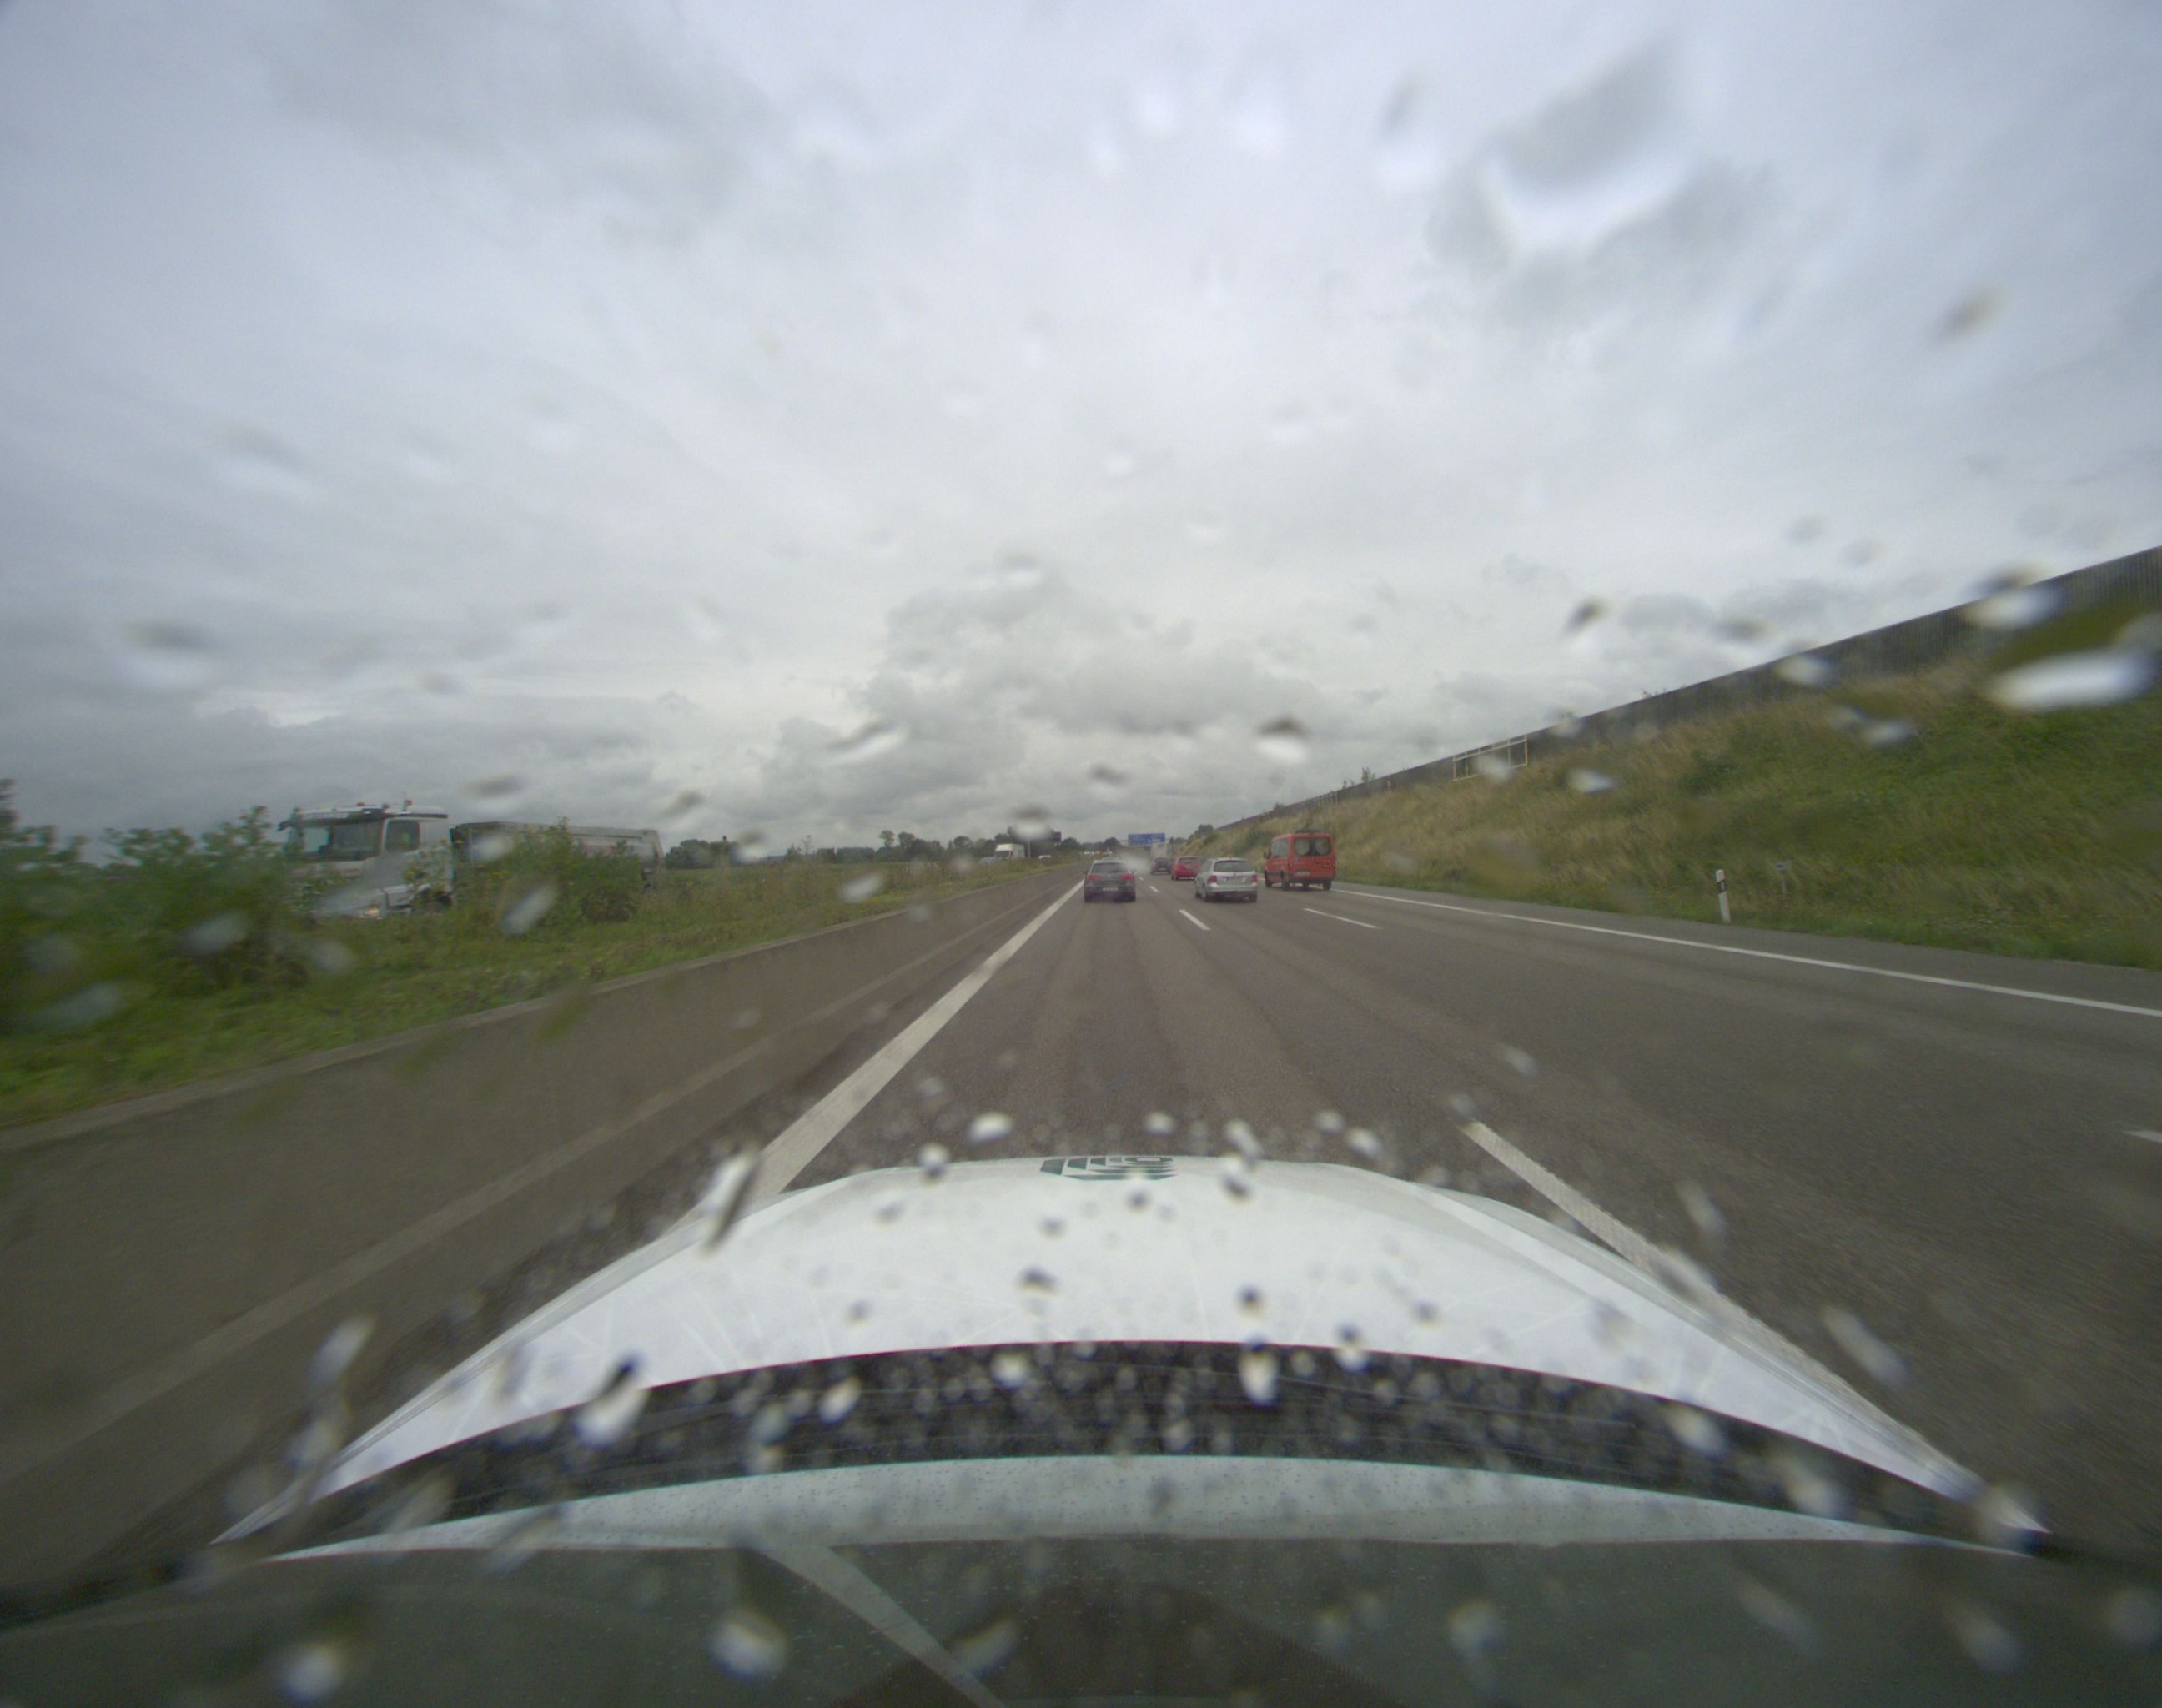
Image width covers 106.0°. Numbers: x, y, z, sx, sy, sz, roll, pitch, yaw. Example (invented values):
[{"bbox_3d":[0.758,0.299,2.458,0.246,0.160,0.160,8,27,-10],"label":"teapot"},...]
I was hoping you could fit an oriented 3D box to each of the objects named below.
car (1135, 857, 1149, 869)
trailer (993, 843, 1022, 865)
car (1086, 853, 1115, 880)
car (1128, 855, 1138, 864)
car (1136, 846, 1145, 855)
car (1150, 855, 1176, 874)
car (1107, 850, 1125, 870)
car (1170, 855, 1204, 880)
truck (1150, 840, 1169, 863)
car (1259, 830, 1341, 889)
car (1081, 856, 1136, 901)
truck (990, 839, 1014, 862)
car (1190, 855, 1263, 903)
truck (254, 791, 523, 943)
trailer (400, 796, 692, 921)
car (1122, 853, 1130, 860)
[{"bbox_3d":[9.276,1.368,123.909,1.839,1.687,4.001,-1,-1,2],"label":"car"},{"bbox_3d":[-11.895,0.019,132.418,2.903,3.428,13.250,-1,-1,3],"label":"trailer"},{"bbox_3d":[1.370,0.814,55.312,1.746,1.750,4.004,-1,-1,4],"label":"car"},{"bbox_3d":[9.807,0.992,153.465,1.745,1.517,4.002,-2,0,2],"label":"car"},{"bbox_3d":[14.307,-0.887,197.047,1.986,2.013,4.001,-2,0,2],"label":"car"},{"bbox_3d":[6.819,0.858,68.248,1.913,1.522,4.625,-2,0,2],"label":"car"},{"bbox_3d":[3.544,0.605,81.756,1.697,1.796,3.858,-3,0,3],"label":"car"},{"bbox_3d":[6.704,0.846,51.889,1.883,1.446,4.690,-2,0,4],"label":"car"},{"bbox_3d":[15.522,-0.394,162.478,3.269,4.295,19.052,-1,0,4],"label":"truck"},{"bbox_3d":[9.486,0.212,35.855,2.078,2.315,6.183,-2,0,2],"label":"car"},{"bbox_3d":[1.007,0.817,28.456,1.761,1.467,4.003,-1,-1,3],"label":"car"},{"bbox_3d":[-12.214,-0.482,125.867,2.958,3.428,5.630,-1,-1,2],"label":"truck"},{"bbox_3d":[4.885,0.795,27.950,1.736,1.425,4.517,-2,0,1],"label":"car"},{"bbox_3d":[-16.860,0.312,20.274,2.745,3.344,4.522,-1,-1,1],"label":"truck"},{"bbox_3d":[-16.683,0.161,26.743,2.777,3.328,9.930,-1,-1,2],"label":"trailer"},{"bbox_3d":[11.674,0.709,212.300,1.986,1.813,4.599,-1,0,2],"label":"car"}]
